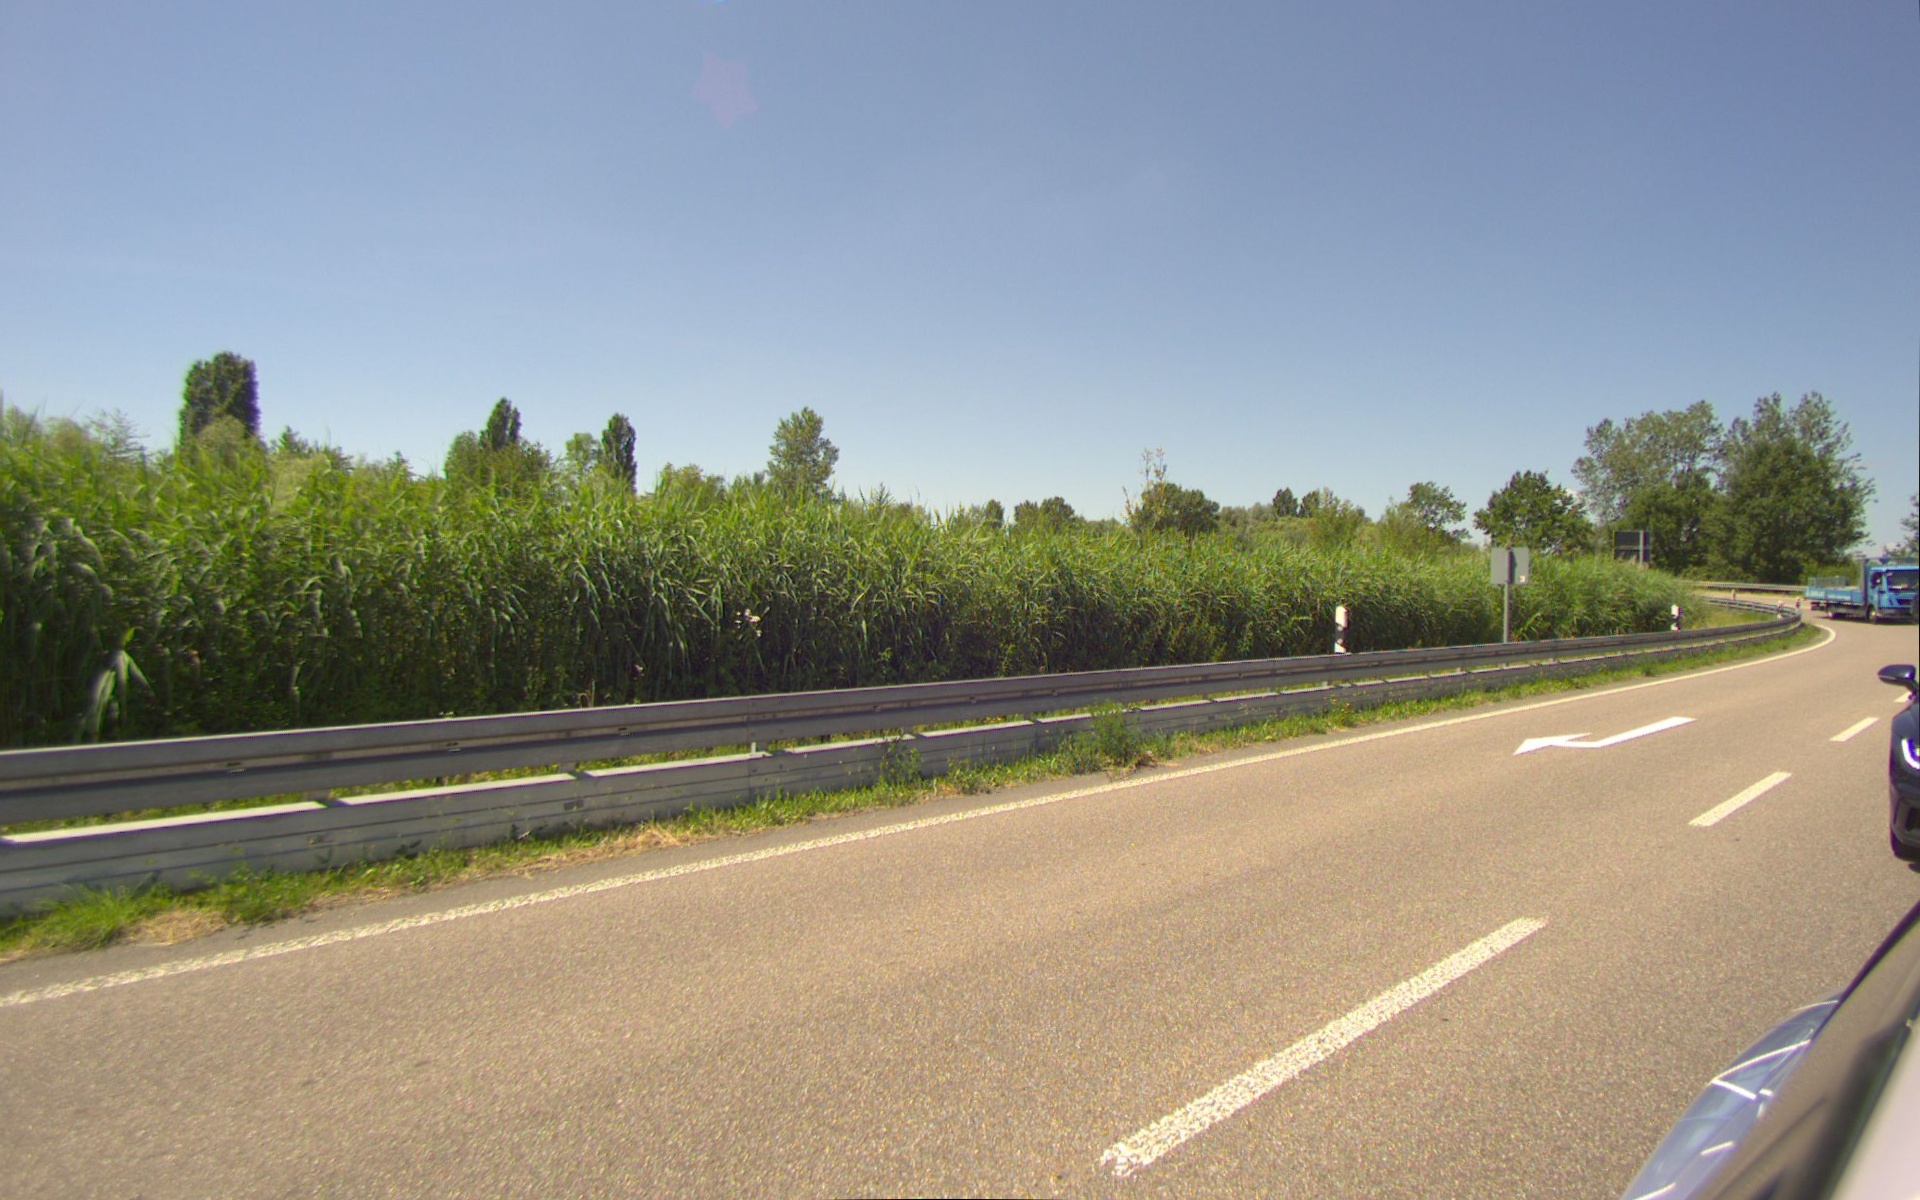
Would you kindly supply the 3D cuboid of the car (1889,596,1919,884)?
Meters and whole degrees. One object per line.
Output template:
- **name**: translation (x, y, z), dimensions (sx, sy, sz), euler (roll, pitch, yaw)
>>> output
- **car**: translation (6.754, 0.688, 5.767), dimensions (3.931, 1.427, 1.759), euler (-1, 1, -41)

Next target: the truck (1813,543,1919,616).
- **truck**: translation (42.819, -0.928, 46.821), dimensions (2.549, 3.108, 9.010), euler (0, 1, 23)
